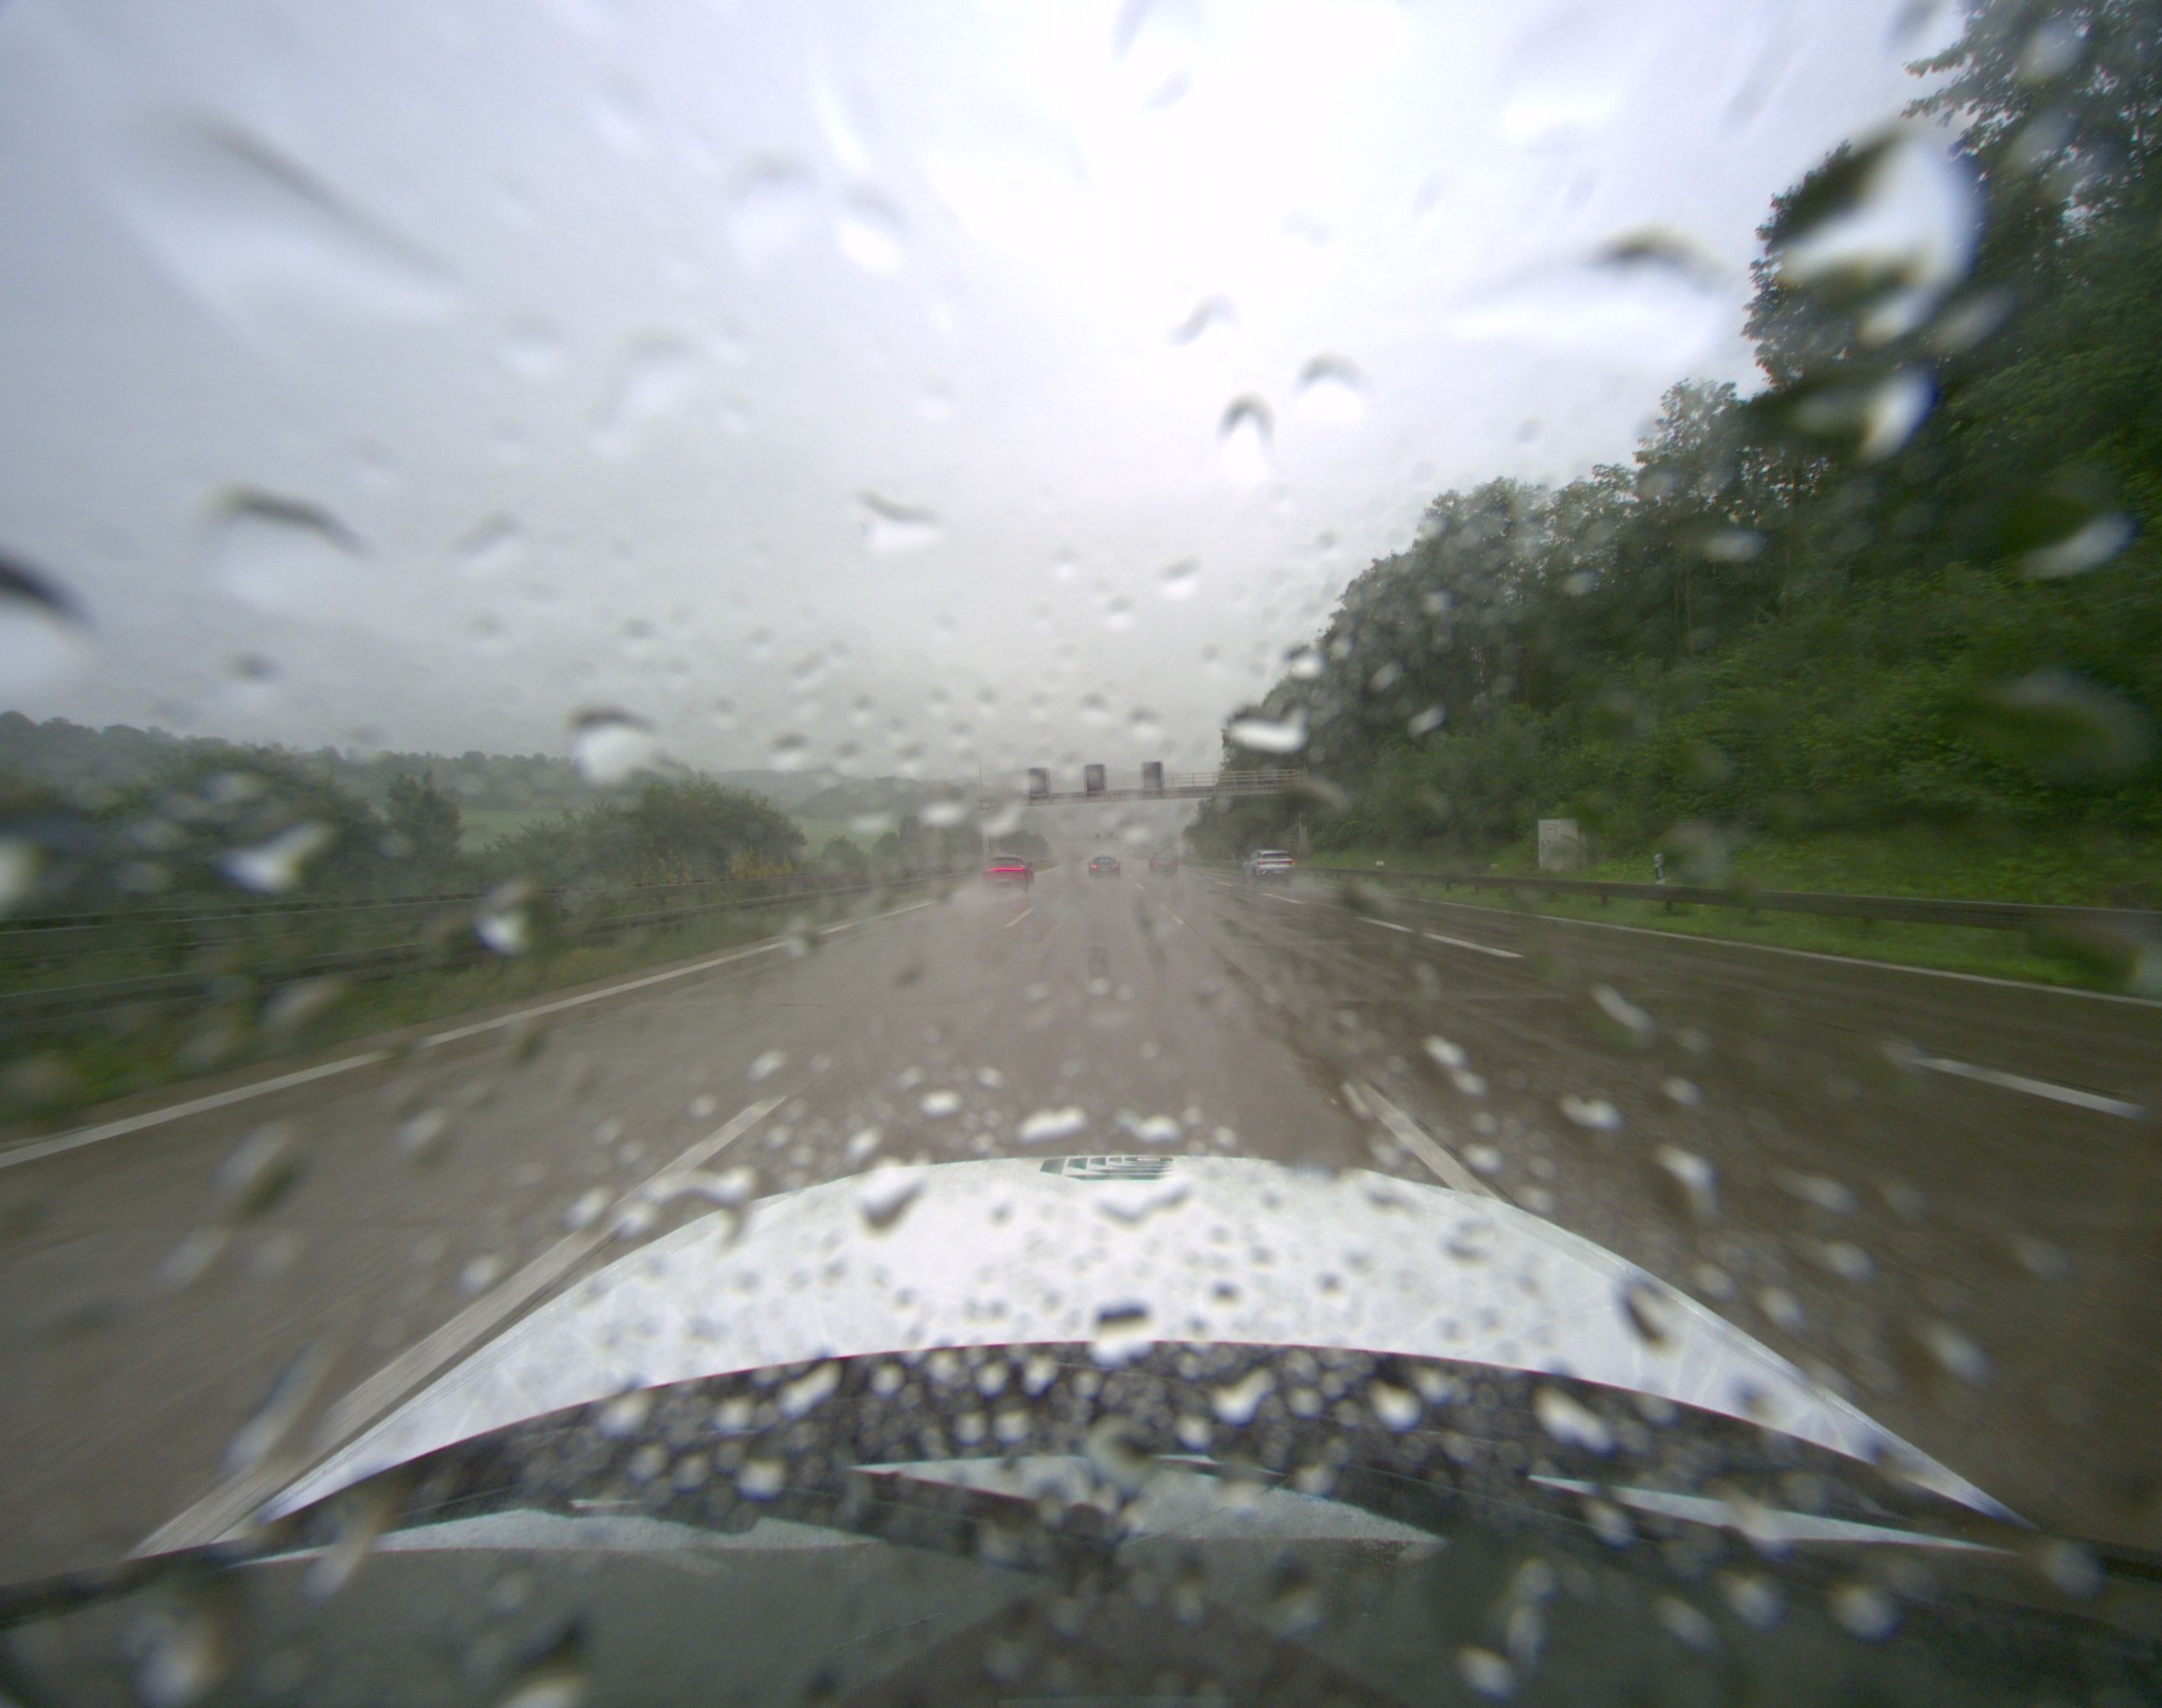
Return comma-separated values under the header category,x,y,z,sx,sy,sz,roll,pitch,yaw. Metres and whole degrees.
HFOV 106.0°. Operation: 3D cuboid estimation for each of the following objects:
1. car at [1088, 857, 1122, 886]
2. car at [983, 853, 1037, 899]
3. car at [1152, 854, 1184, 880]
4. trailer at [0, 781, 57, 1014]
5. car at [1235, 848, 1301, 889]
category,x,y,z,sx,sy,sz,roll,pitch,yaw
car,1.407,0.999,47.174,1.852,1.589,4.002,0,0,2
car,-2.952,0.878,34.745,1.878,1.816,4.000,-1,0,1
car,6.167,0.907,58.067,1.964,1.760,4.002,-1,0,2
trailer,-21.215,0.808,9.698,3.342,4.173,11.407,-1,0,2
car,8.701,0.656,38.333,1.986,1.750,5.665,0,0,2
